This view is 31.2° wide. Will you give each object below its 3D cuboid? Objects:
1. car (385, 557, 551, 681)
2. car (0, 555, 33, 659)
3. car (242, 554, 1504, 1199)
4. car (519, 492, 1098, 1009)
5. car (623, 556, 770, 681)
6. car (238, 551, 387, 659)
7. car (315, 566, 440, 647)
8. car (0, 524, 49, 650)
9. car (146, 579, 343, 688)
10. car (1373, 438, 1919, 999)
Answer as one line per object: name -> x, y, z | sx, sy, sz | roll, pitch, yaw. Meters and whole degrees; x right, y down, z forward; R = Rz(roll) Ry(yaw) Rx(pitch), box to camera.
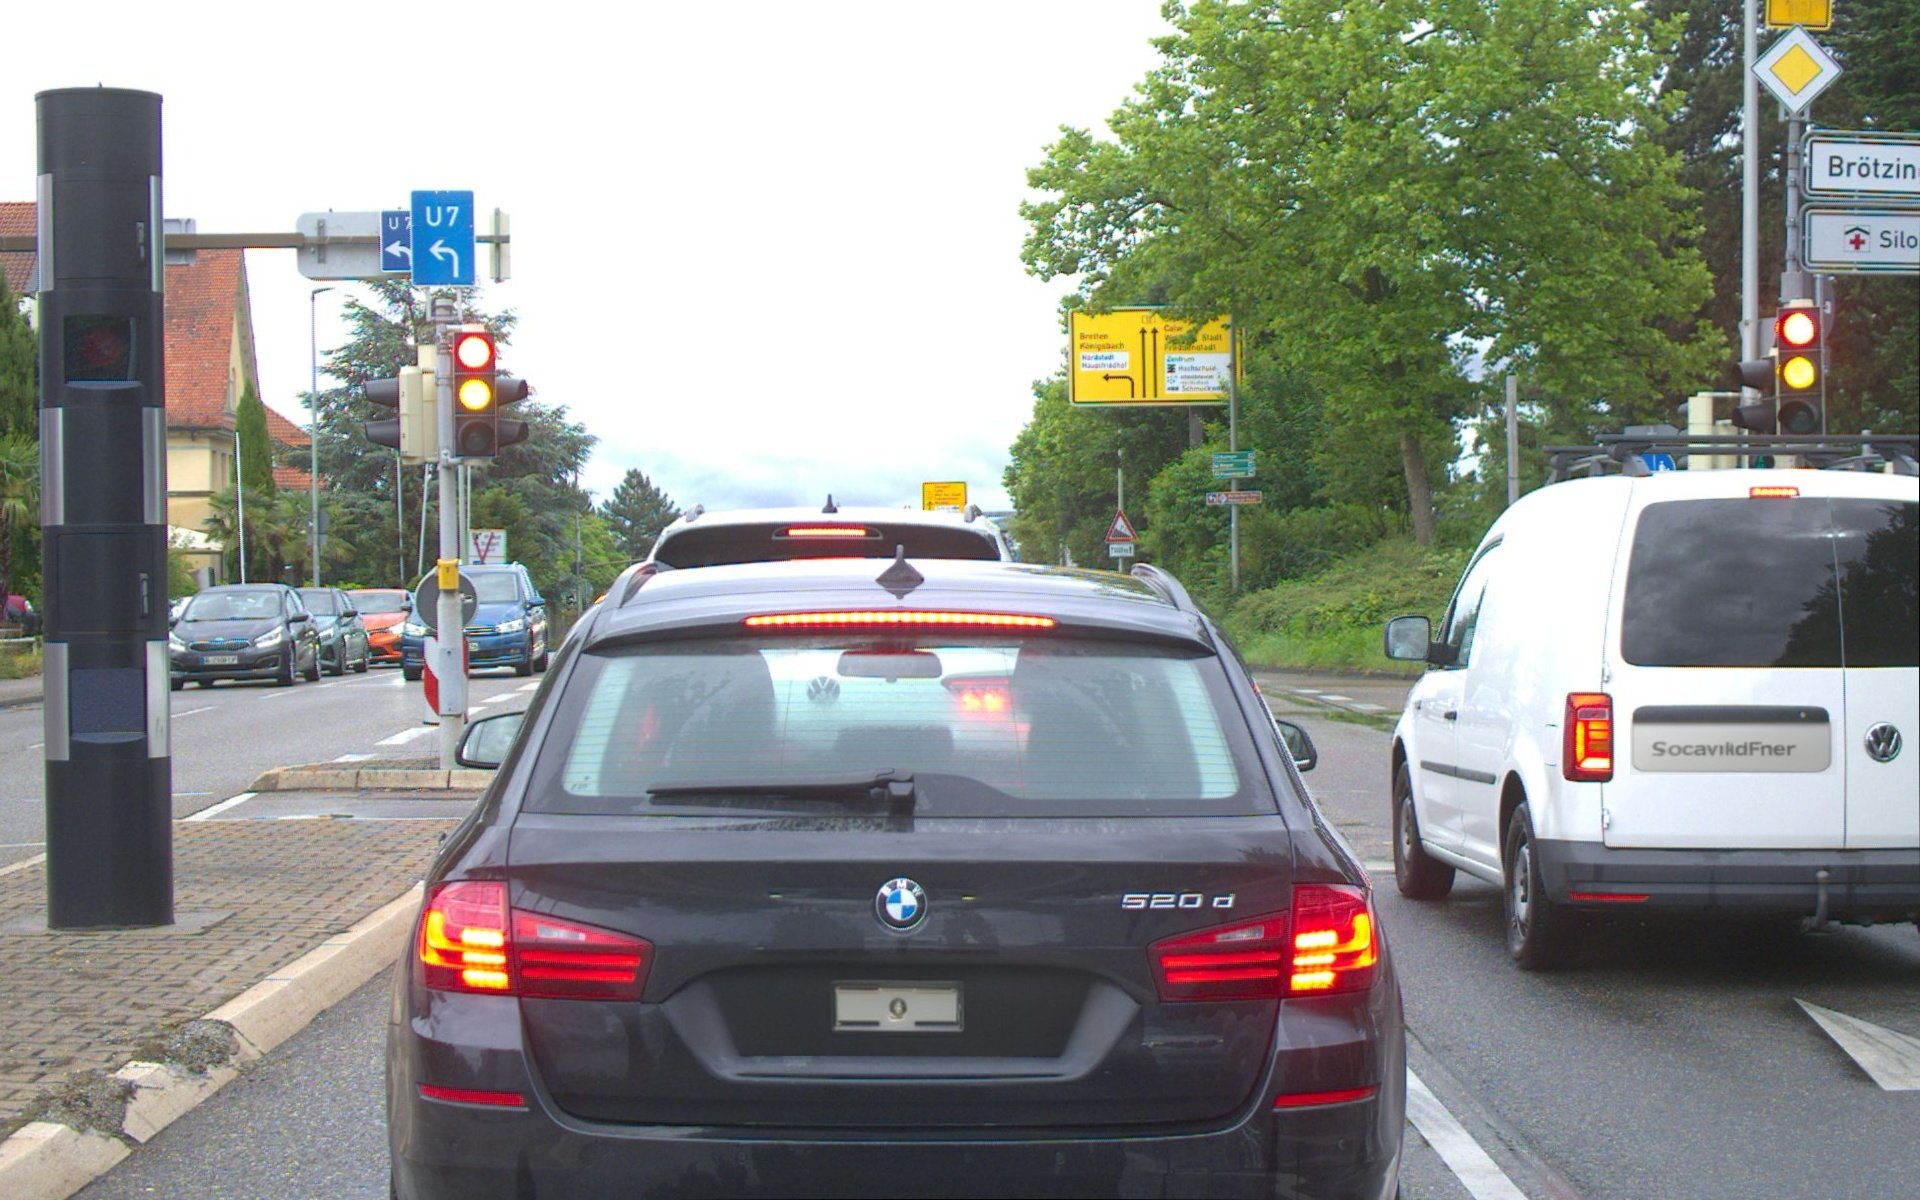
car -> -7.050, 0.234, 49.612 | 1.839, 1.644, 4.298 | -2, 1, -2
car -> -18.509, 0.237, 58.310 | 4.996, 1.697, 2.000 | -3, -2, -28
car -> -0.149, 0.647, 7.190 | 1.899, 1.436, 4.000 | 0, 1, 0
car -> -0.509, 0.444, 13.156 | 1.868, 1.668, 4.000 | 0, 1, 0
car -> -3.657, 0.222, 48.330 | 1.839, 1.644, 4.298 | -1, 1, -2
car -> -10.488, 0.048, 55.914 | 1.676, 1.612, 4.000 | -2, 1, -1
car -> -10.430, 0.085, 61.752 | 1.622, 1.327, 3.947 | -2, 1, -1
car -> -17.315, -0.130, 55.928 | 4.385, 2.007, 2.000 | -3, 1, -29
car -> -10.142, 0.442, 49.006 | 1.917, 1.375, 4.125 | -2, 1, 0
car -> 2.774, 0.357, 13.393 | 1.764, 1.871, 3.806 | 0, 1, -1
